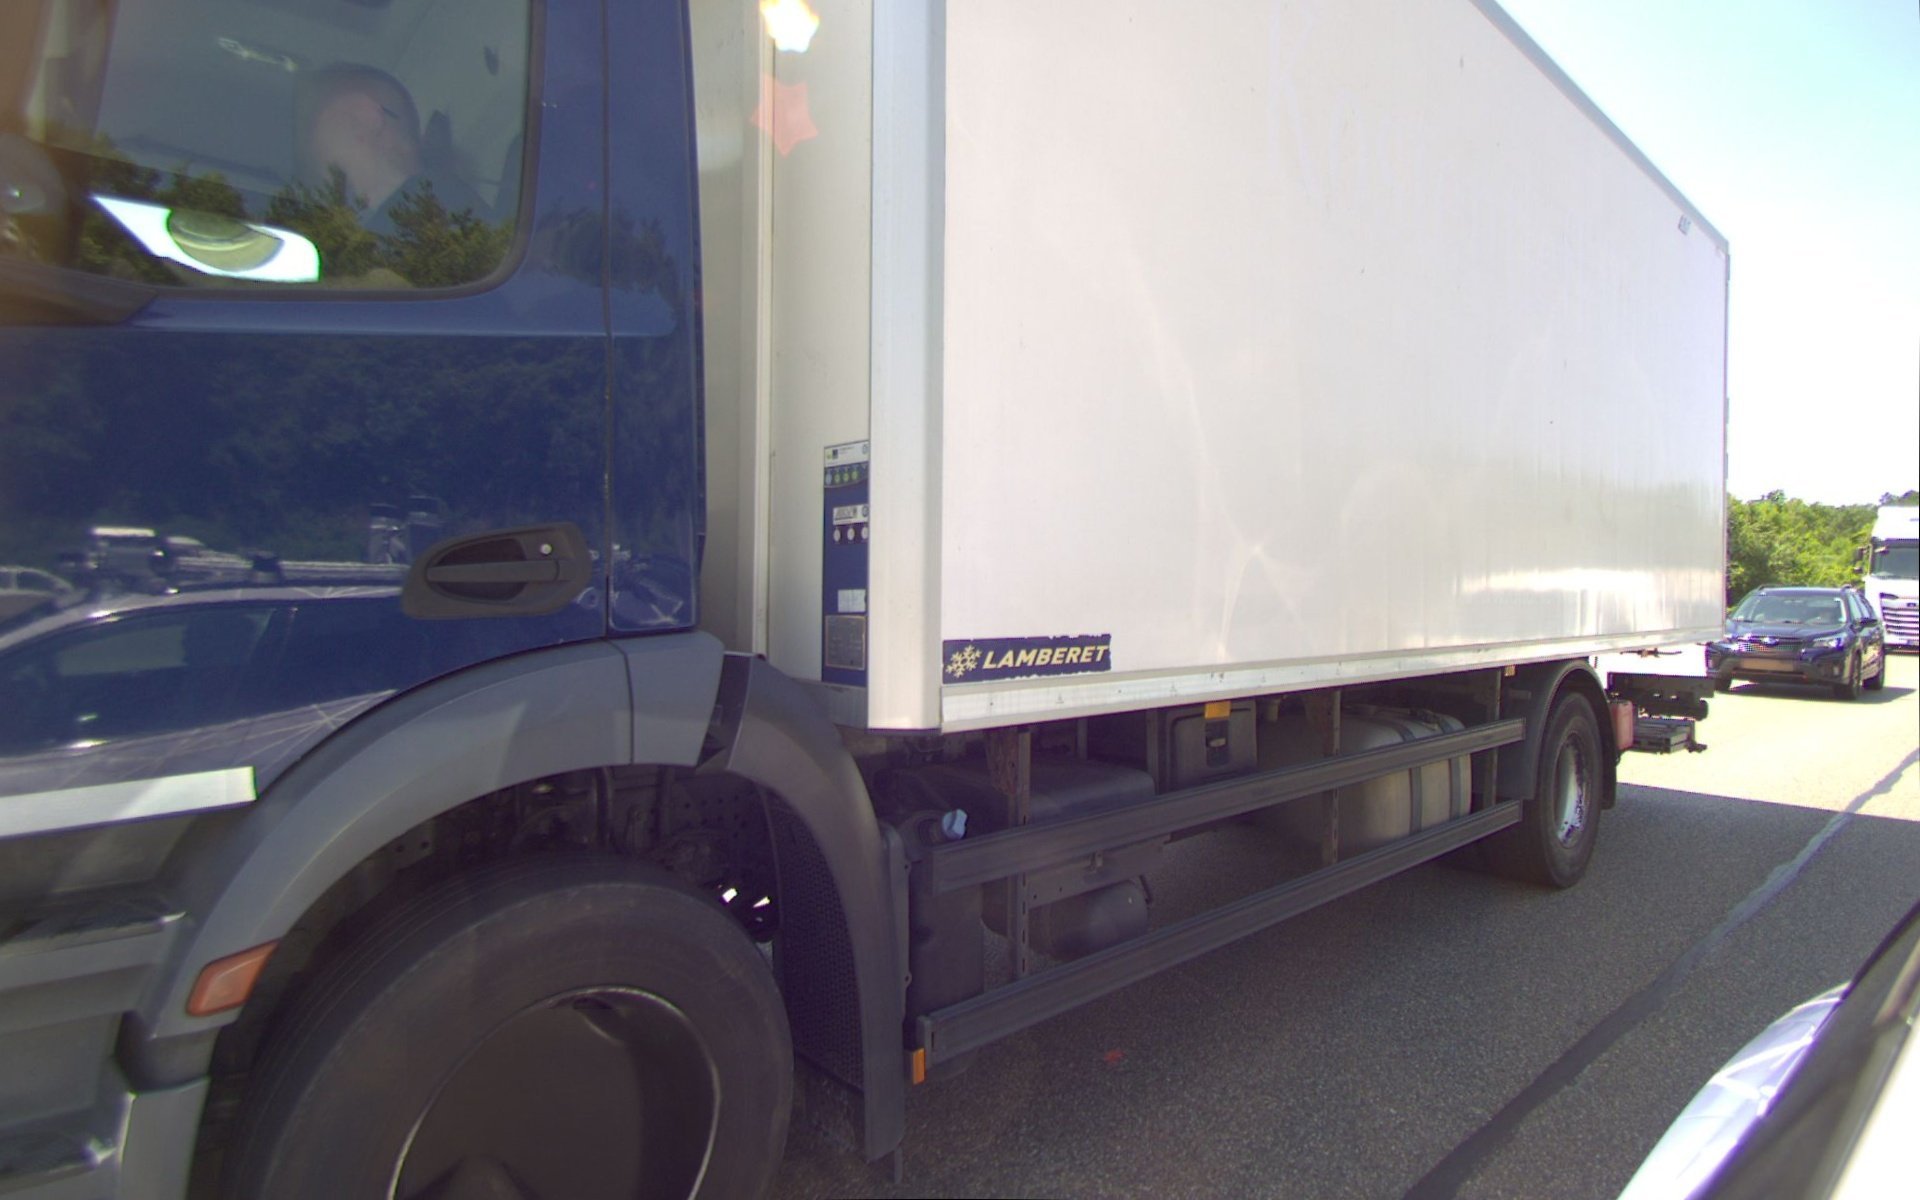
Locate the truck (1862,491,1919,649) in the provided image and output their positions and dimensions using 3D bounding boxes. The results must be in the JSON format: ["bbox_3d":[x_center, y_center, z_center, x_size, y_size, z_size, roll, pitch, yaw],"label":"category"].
[{"bbox_3d":[27.883,-0.839,28.514,7.206,4.135,2.765,-1,1,-41],"label":"truck"}]

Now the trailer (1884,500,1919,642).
[{"bbox_3d":[32.644,-0.909,32.707,11.417,4.133,2.765,-1,3,-41],"label":"trailer"}]

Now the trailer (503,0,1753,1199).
[{"bbox_3d":[1.938,-0.149,5.585,7.746,2.935,2.559,0,0,-42],"label":"trailer"}]

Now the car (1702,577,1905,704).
[{"bbox_3d":[13.700,0.506,16.345,4.535,1.713,1.996,-1,3,-44],"label":"car"}]

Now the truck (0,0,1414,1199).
[{"bbox_3d":[-0.822,-0.095,3.032,4.034,2.977,2.560,-1,2,-42],"label":"truck"}]
